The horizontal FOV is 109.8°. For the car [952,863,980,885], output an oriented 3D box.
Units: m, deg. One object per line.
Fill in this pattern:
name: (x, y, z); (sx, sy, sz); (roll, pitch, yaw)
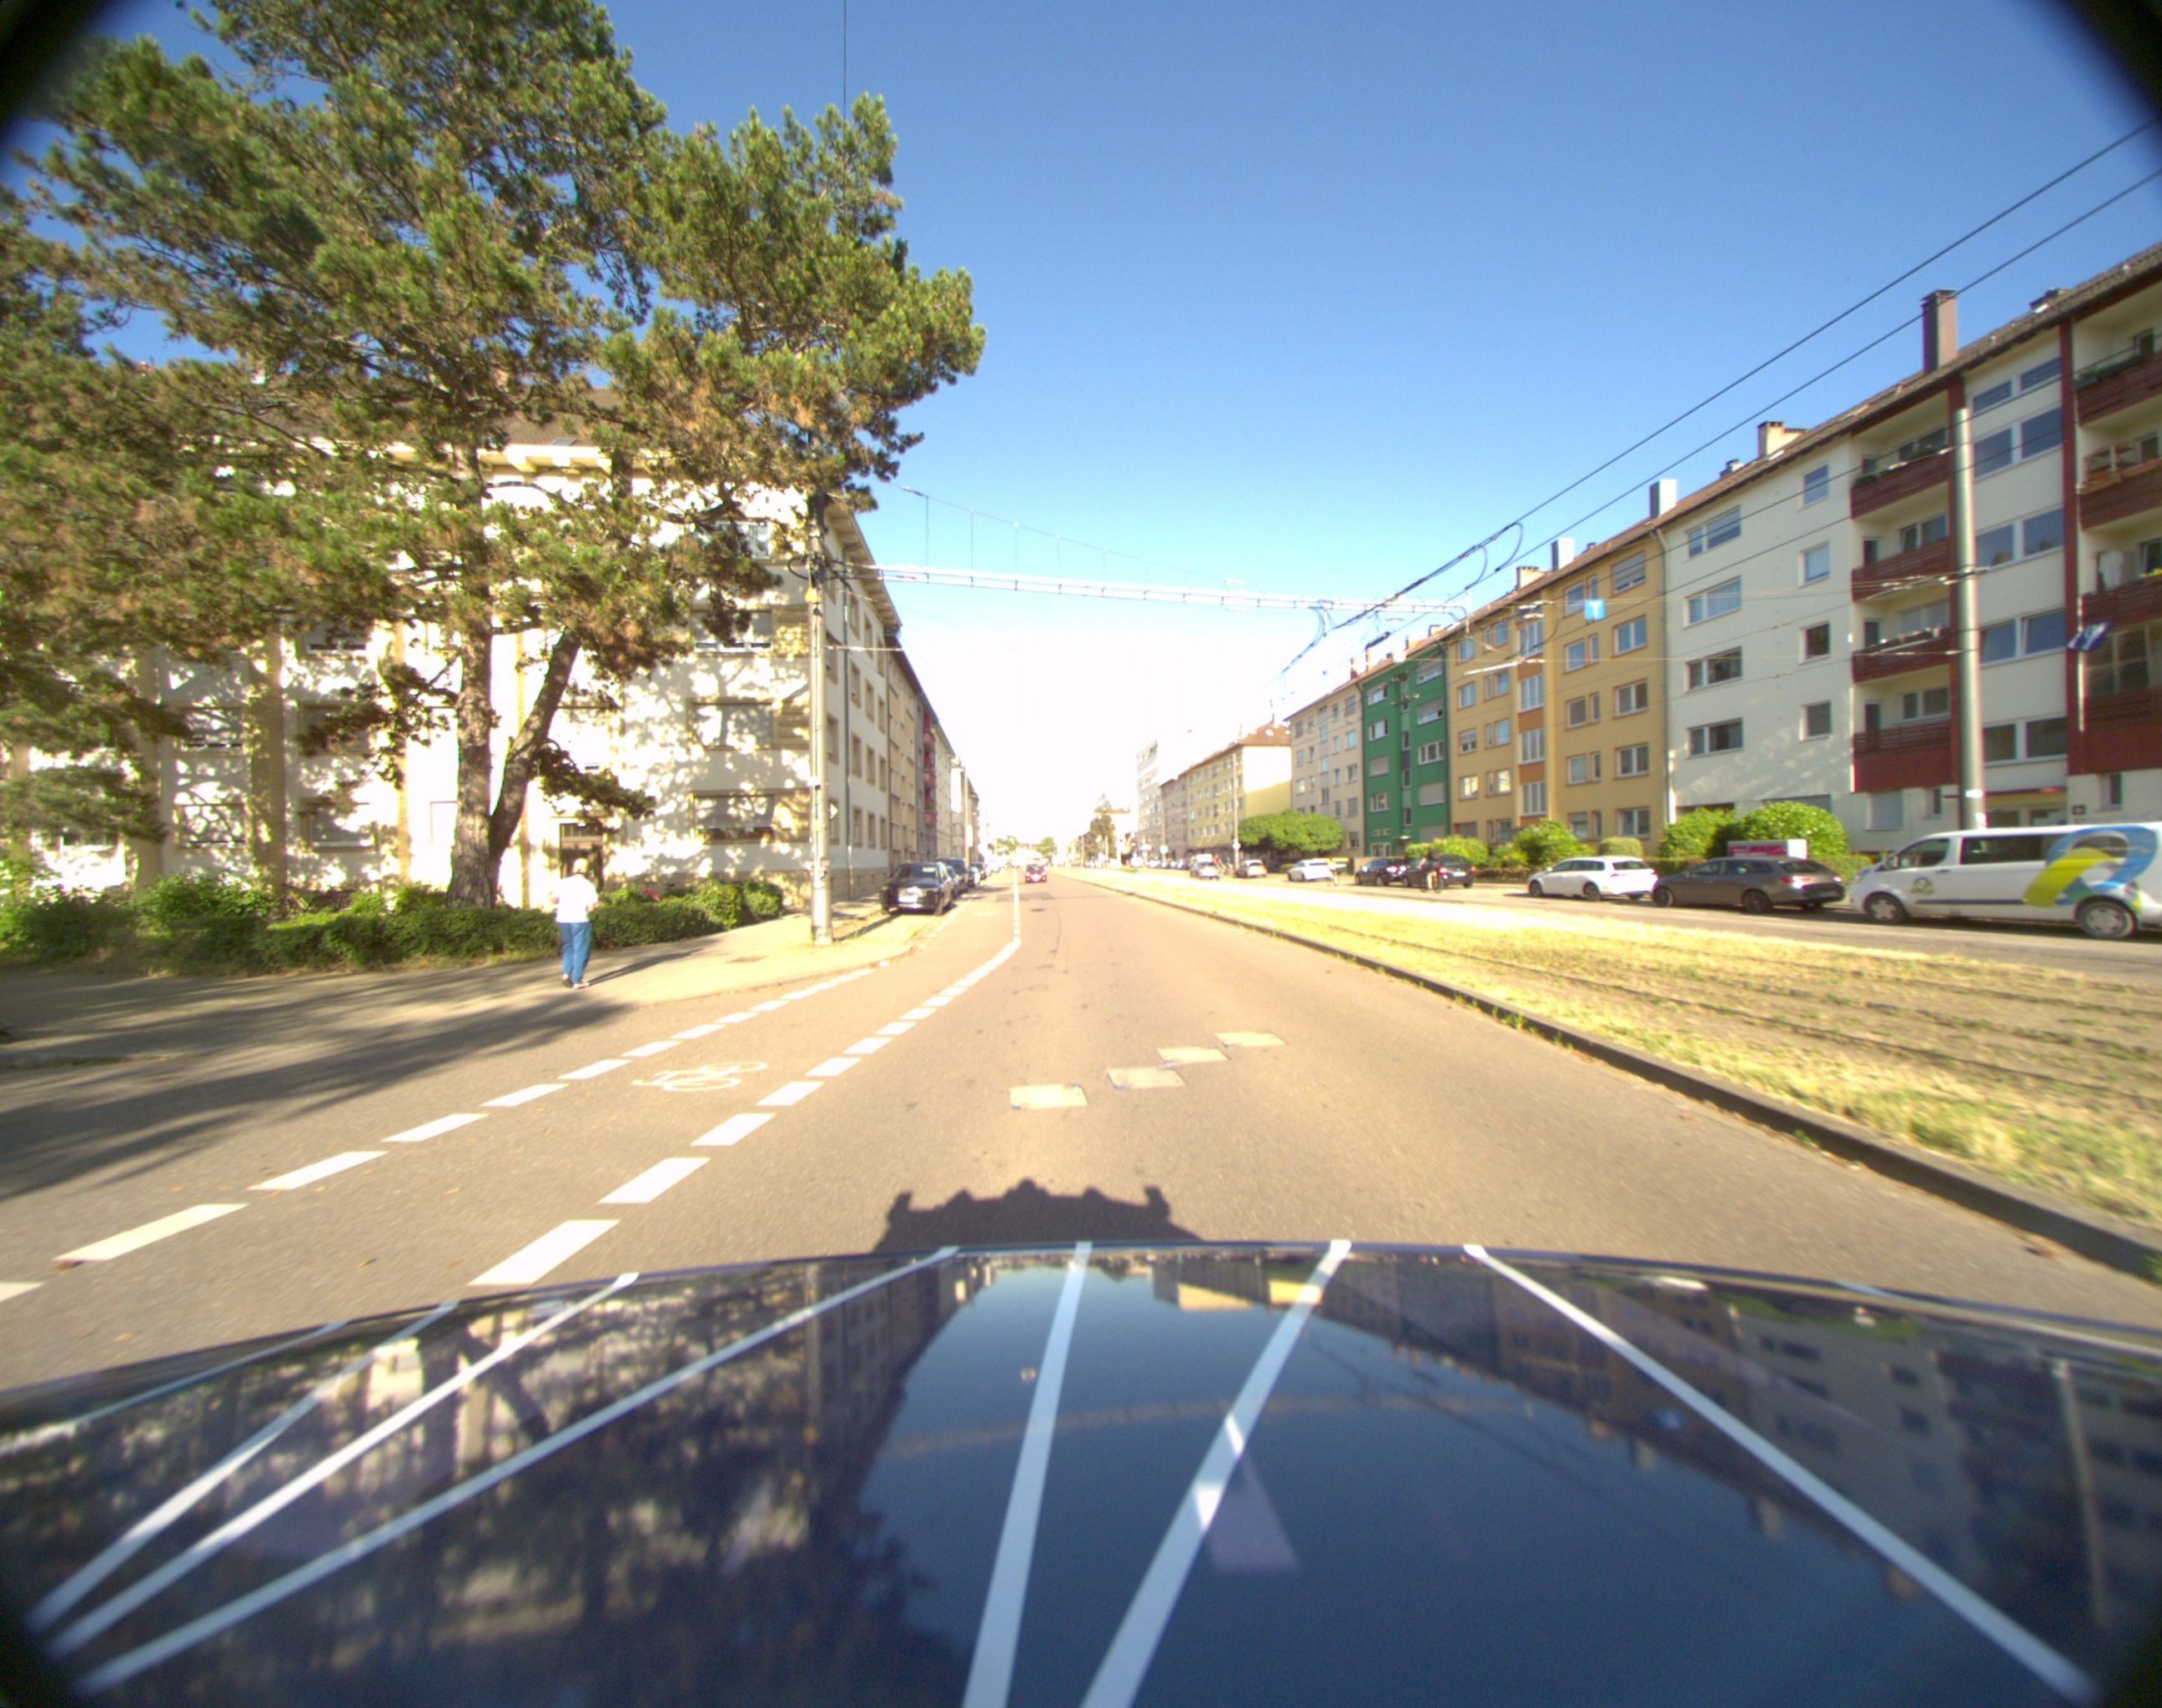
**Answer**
car: (-7.938, 1.369, 52.643); (1.640, 1.445, 3.788); (1, 0, -5)

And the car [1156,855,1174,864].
car: (13.542, 0.861, 122.658); (1.788, 1.377, 4.412); (-4, 0, -7)

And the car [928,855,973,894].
car: (-6.970, 1.050, 41.087); (1.919, 1.888, 5.133); (2, 0, -5)

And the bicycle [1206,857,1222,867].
bicycle: (16.491, 1.035, 94.063); (1.824, 1.099, 0.390); (-4, 0, -5)

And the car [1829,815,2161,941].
car: (18.463, 0.377, 14.883); (2.038, 2.009, 5.368); (-4, 0, -4)

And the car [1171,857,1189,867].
car: (14.571, 1.148, 111.673); (1.788, 1.377, 3.766); (-4, 0, -5)

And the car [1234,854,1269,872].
car: (14.360, 0.745, 64.180); (1.640, 1.433, 3.732); (-3, 0, -7)

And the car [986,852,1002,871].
car: (-12.898, 1.095, 113.432); (2.157, 2.680, 6.289); (1, 0, -5)

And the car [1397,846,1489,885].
car: (16.924, 0.533, 35.767); (1.999, 1.598, 4.149); (-4, 0, -5)

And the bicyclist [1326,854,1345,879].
bicyclist: (13.947, 0.686, 41.714); (0.775, 1.376, 0.648); (-1, 0, -5)

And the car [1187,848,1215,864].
car: (15.792, 0.283, 100.254); (2.000, 1.938, 5.497); (-4, 0, -8)

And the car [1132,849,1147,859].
car: (11.767, 0.052, 152.859); (2.000, 1.887, 4.667); (-3, 0, -7)

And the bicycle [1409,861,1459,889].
bicycle: (14.864, 0.859, 32.055); (0.770, 1.139, 2.473); (1, 0, -5)

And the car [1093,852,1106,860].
car: (3.560, 0.467, 148.398); (1.862, 1.541, 4.238); (1, -1, -7)

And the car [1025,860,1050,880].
car: (-3.408, 1.205, 58.670); (1.863, 1.461, 3.807); (0, 0, -4)

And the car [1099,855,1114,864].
car: (4.492, 0.980, 133.906); (1.789, 1.519, 4.411); (0, -1, -10)

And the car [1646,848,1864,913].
car: (17.938, 0.661, 20.553); (1.700, 1.506, 4.323); (-2, 0, -8)

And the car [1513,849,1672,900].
car: (17.396, 0.656, 26.200); (1.898, 1.483, 4.700); (-3, 0, -7)

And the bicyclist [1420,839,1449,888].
bicyclist: (14.833, 0.402, 31.865); (0.775, 2.002, 0.648); (-4, 0, -5)

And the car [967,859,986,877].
car: (-9.759, 1.266, 71.044); (1.641, 1.637, 4.371); (1, -1, -7)

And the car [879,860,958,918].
car: (-5.390, 1.104, 25.758); (1.884, 1.706, 4.932); (2, 0, -4)

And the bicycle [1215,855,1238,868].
bicycle: (14.031, 0.734, 73.309); (2.053, 1.086, 0.615); (-4, 0, 1)

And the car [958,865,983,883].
car: (-8.693, 1.531, 60.109); (1.707, 1.268, 4.301); (2, -1, -6)

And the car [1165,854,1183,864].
car: (14.237, 0.826, 116.936); (1.788, 1.412, 4.413); (-4, 0, -5)

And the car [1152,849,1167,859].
car: (13.531, 0.017, 131.059); (1.764, 1.477, 4.198); (-4, 0, -5)

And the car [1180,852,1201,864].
car: (15.190, 0.546, 105.911); (1.788, 1.465, 4.594); (-4, 0, -5)

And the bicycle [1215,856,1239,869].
bicycle: (13.959, 0.821, 72.615); (2.053, 1.086, 0.615); (-4, 0, 1)

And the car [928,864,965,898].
car: (-6.328, 1.243, 35.986); (1.515, 1.469, 4.235); (0, 0, -7)

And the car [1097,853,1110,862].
car: (4.121, 0.609, 141.215); (1.788, 1.572, 4.606); (0, -1, -5)

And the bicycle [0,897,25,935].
bicycle: (-32.831, 1.888, 22.858); (1.386, 1.106, 0.391); (-1, 1, -5)

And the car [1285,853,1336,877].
car: (15.386, 0.717, 51.222); (1.734, 1.446, 4.374); (-2, 0, -5)

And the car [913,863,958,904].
car: (-5.990, 1.173, 31.663); (1.599, 1.569, 3.893); (1, 0, -8)

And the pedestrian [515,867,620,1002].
pedestrian: (-6.783, 1.034, 10.070); (0.882, 1.712, 0.725); (-1, 0, 1)

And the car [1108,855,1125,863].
car: (5.913, 0.831, 127.549); (1.840, 1.376, 4.411); (0, -1, -11)

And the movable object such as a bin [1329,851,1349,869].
movable object such as a bin: (20.287, 0.454, 59.841); (1.150, 1.360, 1.039); (-4, 1, -2)

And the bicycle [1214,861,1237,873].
bicycle: (14.123, 1.265, 74.104); (2.053, 1.086, 0.615); (-4, 0, 1)

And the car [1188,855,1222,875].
car: (9.476, 0.822, 58.327); (1.699, 1.439, 4.215); (0, 0, -4)

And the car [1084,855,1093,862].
car: (1.562, 0.947, 159.877); (1.618, 1.550, 3.998); (1, -1, -5)

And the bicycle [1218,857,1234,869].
bicycle: (13.329, 0.825, 69.910); (0.511, 1.086, 1.933); (-4, 0, -16)

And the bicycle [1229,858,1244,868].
bicycle: (14.366, 0.826, 70.174); (0.377, 0.860, 2.052); (-4, 0, -16)

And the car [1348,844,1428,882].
car: (16.321, 0.472, 40.705); (1.999, 1.827, 4.607); (-3, 0, -5)

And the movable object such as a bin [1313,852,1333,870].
movable object such as a bin: (18.994, 0.536, 59.710); (1.150, 1.360, 1.039); (-4, 1, -2)

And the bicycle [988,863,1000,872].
bicycle: (-12.434, 1.914, 108.221); (2.023, 1.080, 0.487); (-4, 0, 43)

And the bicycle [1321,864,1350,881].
bicycle: (13.960, 0.997, 41.757); (0.770, 0.874, 2.068); (1, 0, -5)
